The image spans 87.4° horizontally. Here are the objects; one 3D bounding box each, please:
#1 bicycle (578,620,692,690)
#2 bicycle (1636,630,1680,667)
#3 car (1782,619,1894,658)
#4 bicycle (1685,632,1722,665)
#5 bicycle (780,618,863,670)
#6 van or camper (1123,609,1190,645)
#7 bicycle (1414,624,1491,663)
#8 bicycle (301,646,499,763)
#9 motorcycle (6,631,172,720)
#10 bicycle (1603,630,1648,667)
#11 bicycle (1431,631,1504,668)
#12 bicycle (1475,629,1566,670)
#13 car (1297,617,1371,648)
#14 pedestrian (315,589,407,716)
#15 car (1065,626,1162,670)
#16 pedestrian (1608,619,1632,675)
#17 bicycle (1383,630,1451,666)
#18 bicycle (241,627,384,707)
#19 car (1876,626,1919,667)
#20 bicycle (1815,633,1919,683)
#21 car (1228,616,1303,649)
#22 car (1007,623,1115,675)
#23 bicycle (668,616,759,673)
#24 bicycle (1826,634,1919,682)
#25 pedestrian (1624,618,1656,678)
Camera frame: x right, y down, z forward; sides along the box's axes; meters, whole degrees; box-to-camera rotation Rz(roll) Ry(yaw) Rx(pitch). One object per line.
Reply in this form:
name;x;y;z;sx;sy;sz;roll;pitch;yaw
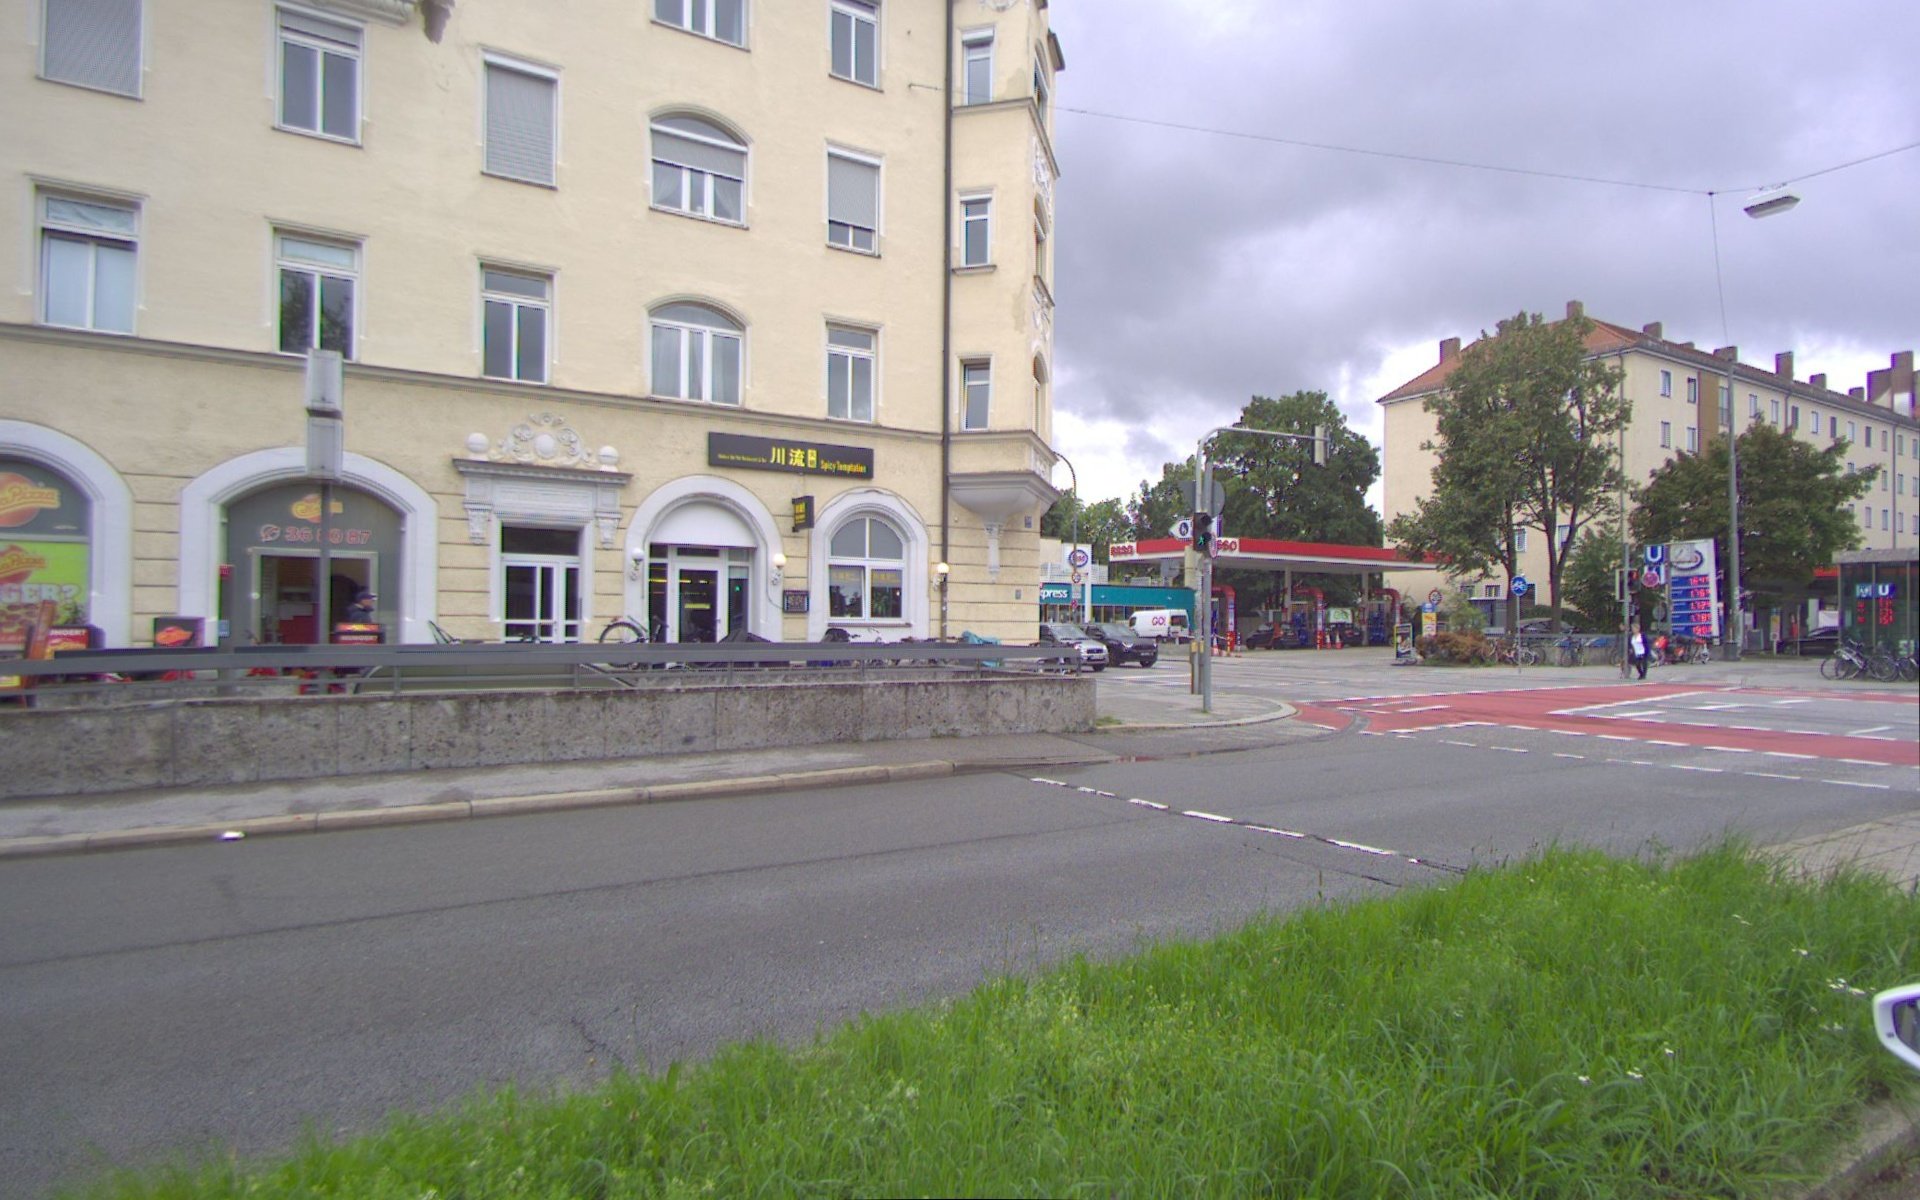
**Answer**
bicycle;-4.771;0.792;14.774;1.527;0.993;0.470;1;-1;-30
bicycle;24.296;1.680;34.959;2.166;1.252;0.603;1;-1;-37
car;44.408;1.905;50.874;1.860;1.862;3.965;1;-1;-32
bicycle;27.652;1.789;37.351;1.947;1.160;0.603;1;-1;-37
bicycle;-2.697;0.853;19.624;1.527;0.993;0.470;1;-1;-30
van or camper;13.466;1.829;69.162;1.899;2.354;4.508;1;-1;-34
bicycle;17.822;1.551;36.409;0.785;1.267;2.374;1;0;-40
bicycle;-5.940;1.070;10.725;1.798;1.130;0.392;1;-1;-39
motorcycle;-11.954;1.014;13.801;1.946;1.137;0.610;1;-1;10
bicycle;23.274;1.671;35.115;2.166;1.252;0.603;1;-1;-37
bicycle;17.764;1.720;35.210;0.760;1.252;2.161;1;-1;-41
bicycle;19.302;1.687;34.640;2.664;1.267;0.792;2;0;30
car;22.661;1.938;61.031;1.836;1.808;3.968;1;-1;-30
pedestrian;-8.461;0.724;14.211;0.583;1.719;0.943;0;-1;32
car;5.371;1.654;35.455;1.643;1.430;3.534;1;-1;-27
pedestrian;20.531;1.459;31.270;0.581;1.717;0.576;0;-1;30
bicycle;16.751;1.756;36.854;0.759;1.252;2.163;1;-1;-39
bicycle;-8.393;0.851;13.090;1.527;0.993;0.470;1;-1;-30
car;40.092;1.869;40.768;3.887;1.630;1.818;0;-1;12
bicycle;26.039;1.636;28.787;0.695;1.322;2.262;1;-1;-28
car;17.317;1.807;57.104;1.836;1.808;3.968;1;-1;-30
car;3.231;1.547;32.643;1.646;1.537;3.599;1;-1;-32
bicycle;-4.454;0.798;18.164;1.527;0.993;0.470;1;-1;-30
bicycle;26.713;1.652;29.159;0.685;1.322;2.275;1;-1;-28
pedestrian;19.587;1.375;28.929;0.568;1.717;0.533;1;-1;-19
